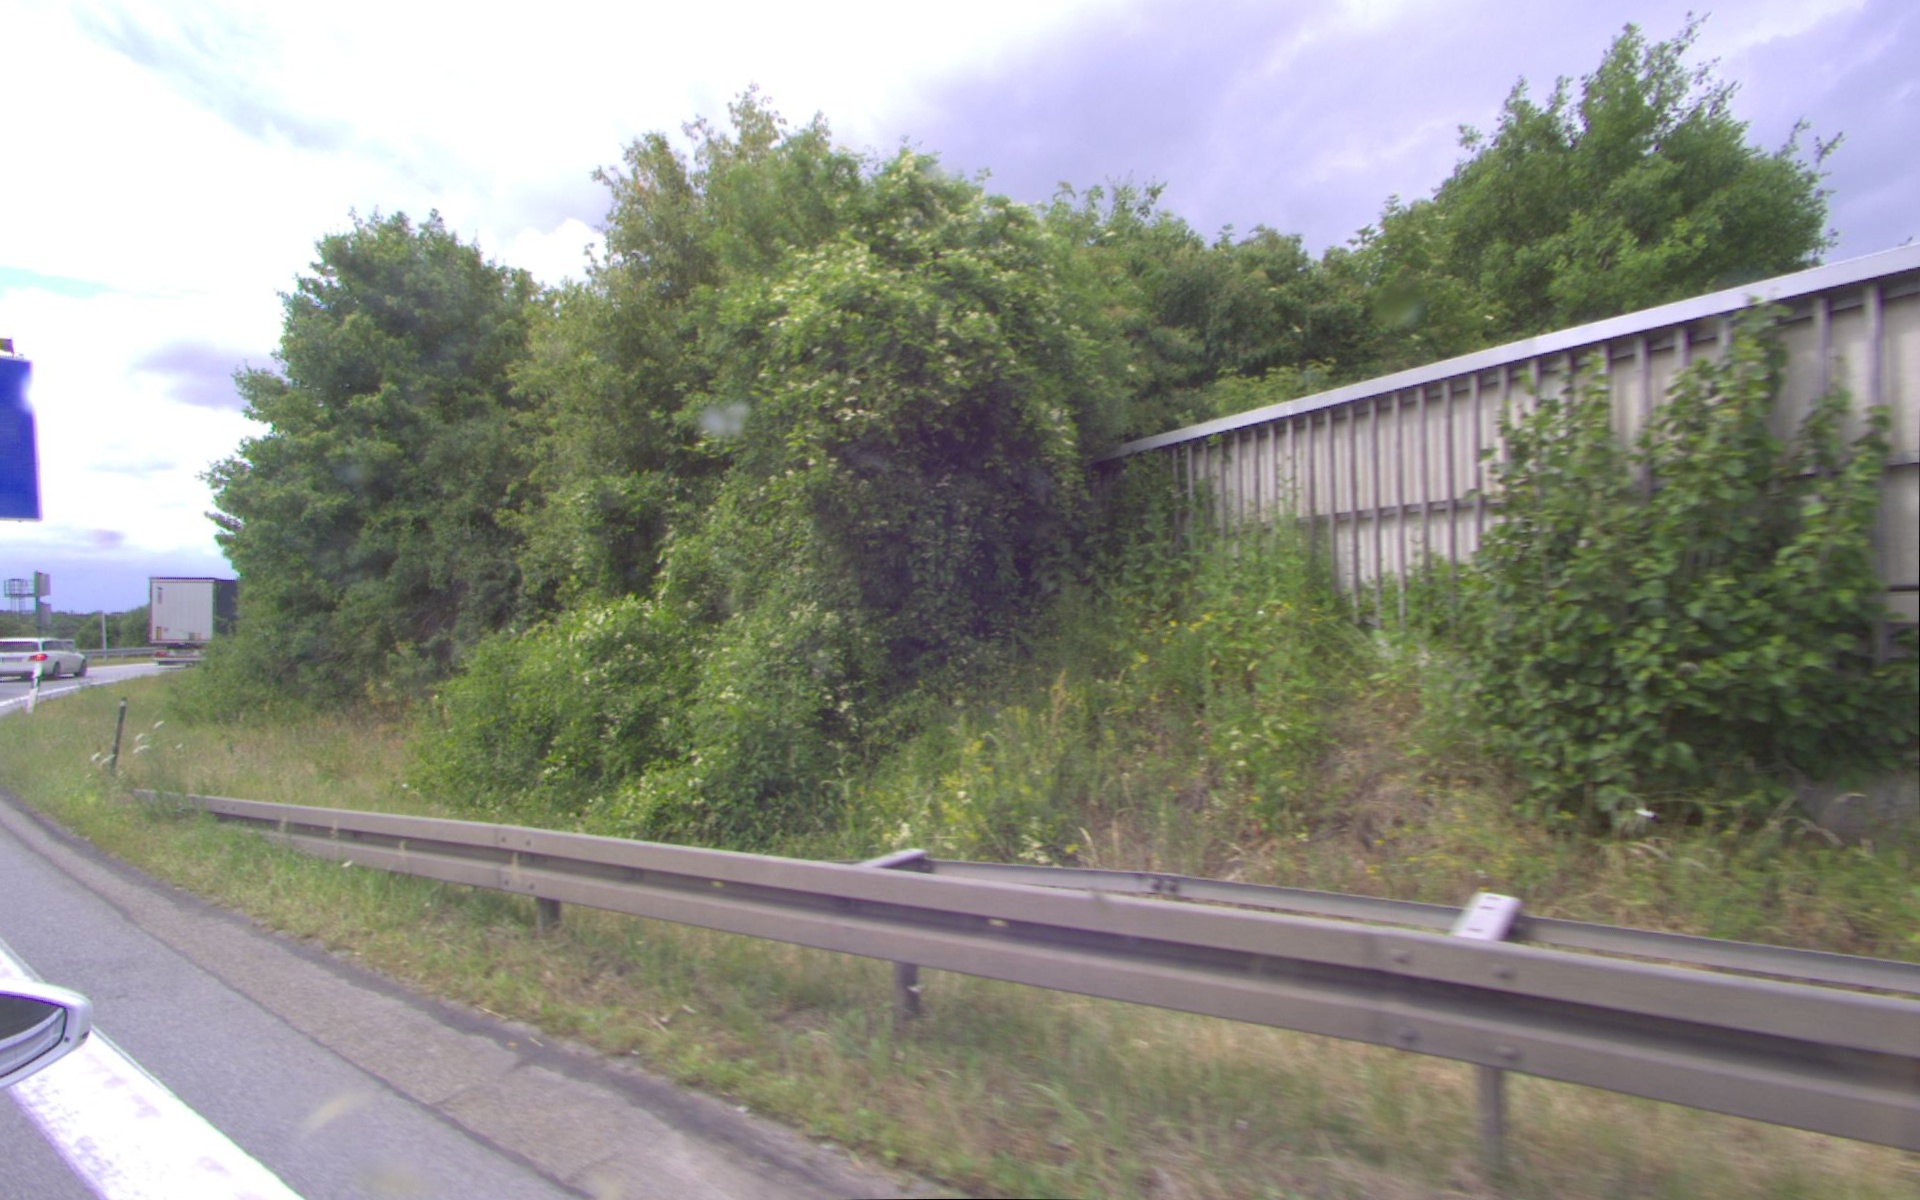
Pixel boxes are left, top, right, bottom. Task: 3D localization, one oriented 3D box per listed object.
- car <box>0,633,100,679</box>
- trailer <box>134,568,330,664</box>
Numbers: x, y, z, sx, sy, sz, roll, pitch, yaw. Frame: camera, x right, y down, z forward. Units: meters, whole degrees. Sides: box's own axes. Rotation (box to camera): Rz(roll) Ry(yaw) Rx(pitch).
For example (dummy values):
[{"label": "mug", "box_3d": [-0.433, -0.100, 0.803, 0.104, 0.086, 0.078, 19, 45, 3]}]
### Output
[{"label": "car", "box_3d": [-33.288, 1.991, 36.145, 2.179, 1.520, 4.770, 0, -1, -25]}, {"label": "trailer", "box_3d": [-36.422, 0.877, 51.015, 3.280, 4.247, 13.021, 0, -1, -13]}]
